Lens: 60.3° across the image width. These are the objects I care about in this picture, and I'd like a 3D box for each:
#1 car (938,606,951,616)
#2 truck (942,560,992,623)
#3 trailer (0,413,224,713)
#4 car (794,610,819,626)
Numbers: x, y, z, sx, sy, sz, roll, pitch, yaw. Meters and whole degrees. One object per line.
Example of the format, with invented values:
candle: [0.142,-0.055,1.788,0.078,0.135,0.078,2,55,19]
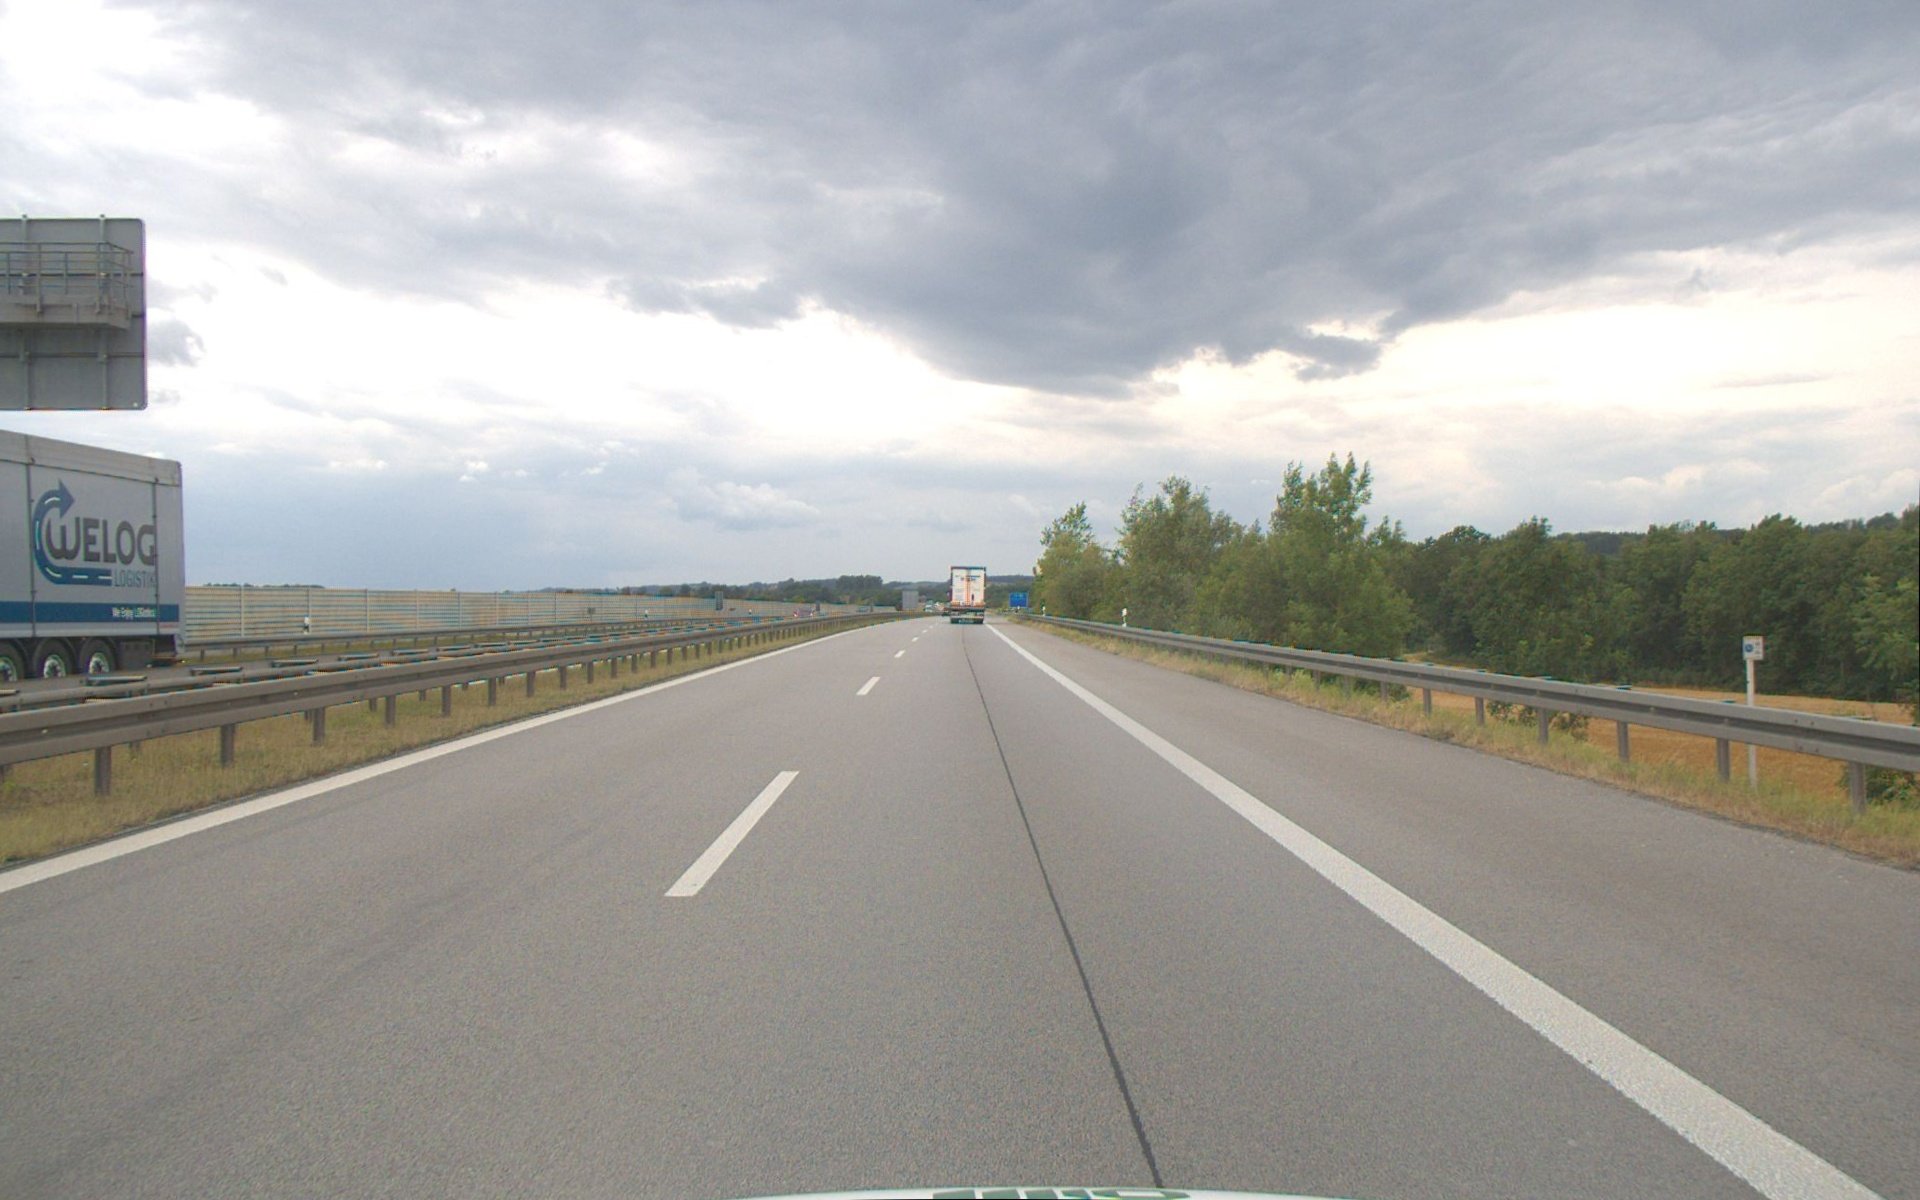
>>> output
car: [-2.448,1.710,260.603,1.954,1.445,3.998,1,1,-3]
truck: [0.440,-0.582,126.427,3.597,4.490,16.338,0,0,0]
trailer: [-14.814,-0.467,22.818,3.114,4.147,14.021,-2,0,-1]
car: [-14.116,1.665,152.261,1.780,1.428,4.876,-1,0,0]
